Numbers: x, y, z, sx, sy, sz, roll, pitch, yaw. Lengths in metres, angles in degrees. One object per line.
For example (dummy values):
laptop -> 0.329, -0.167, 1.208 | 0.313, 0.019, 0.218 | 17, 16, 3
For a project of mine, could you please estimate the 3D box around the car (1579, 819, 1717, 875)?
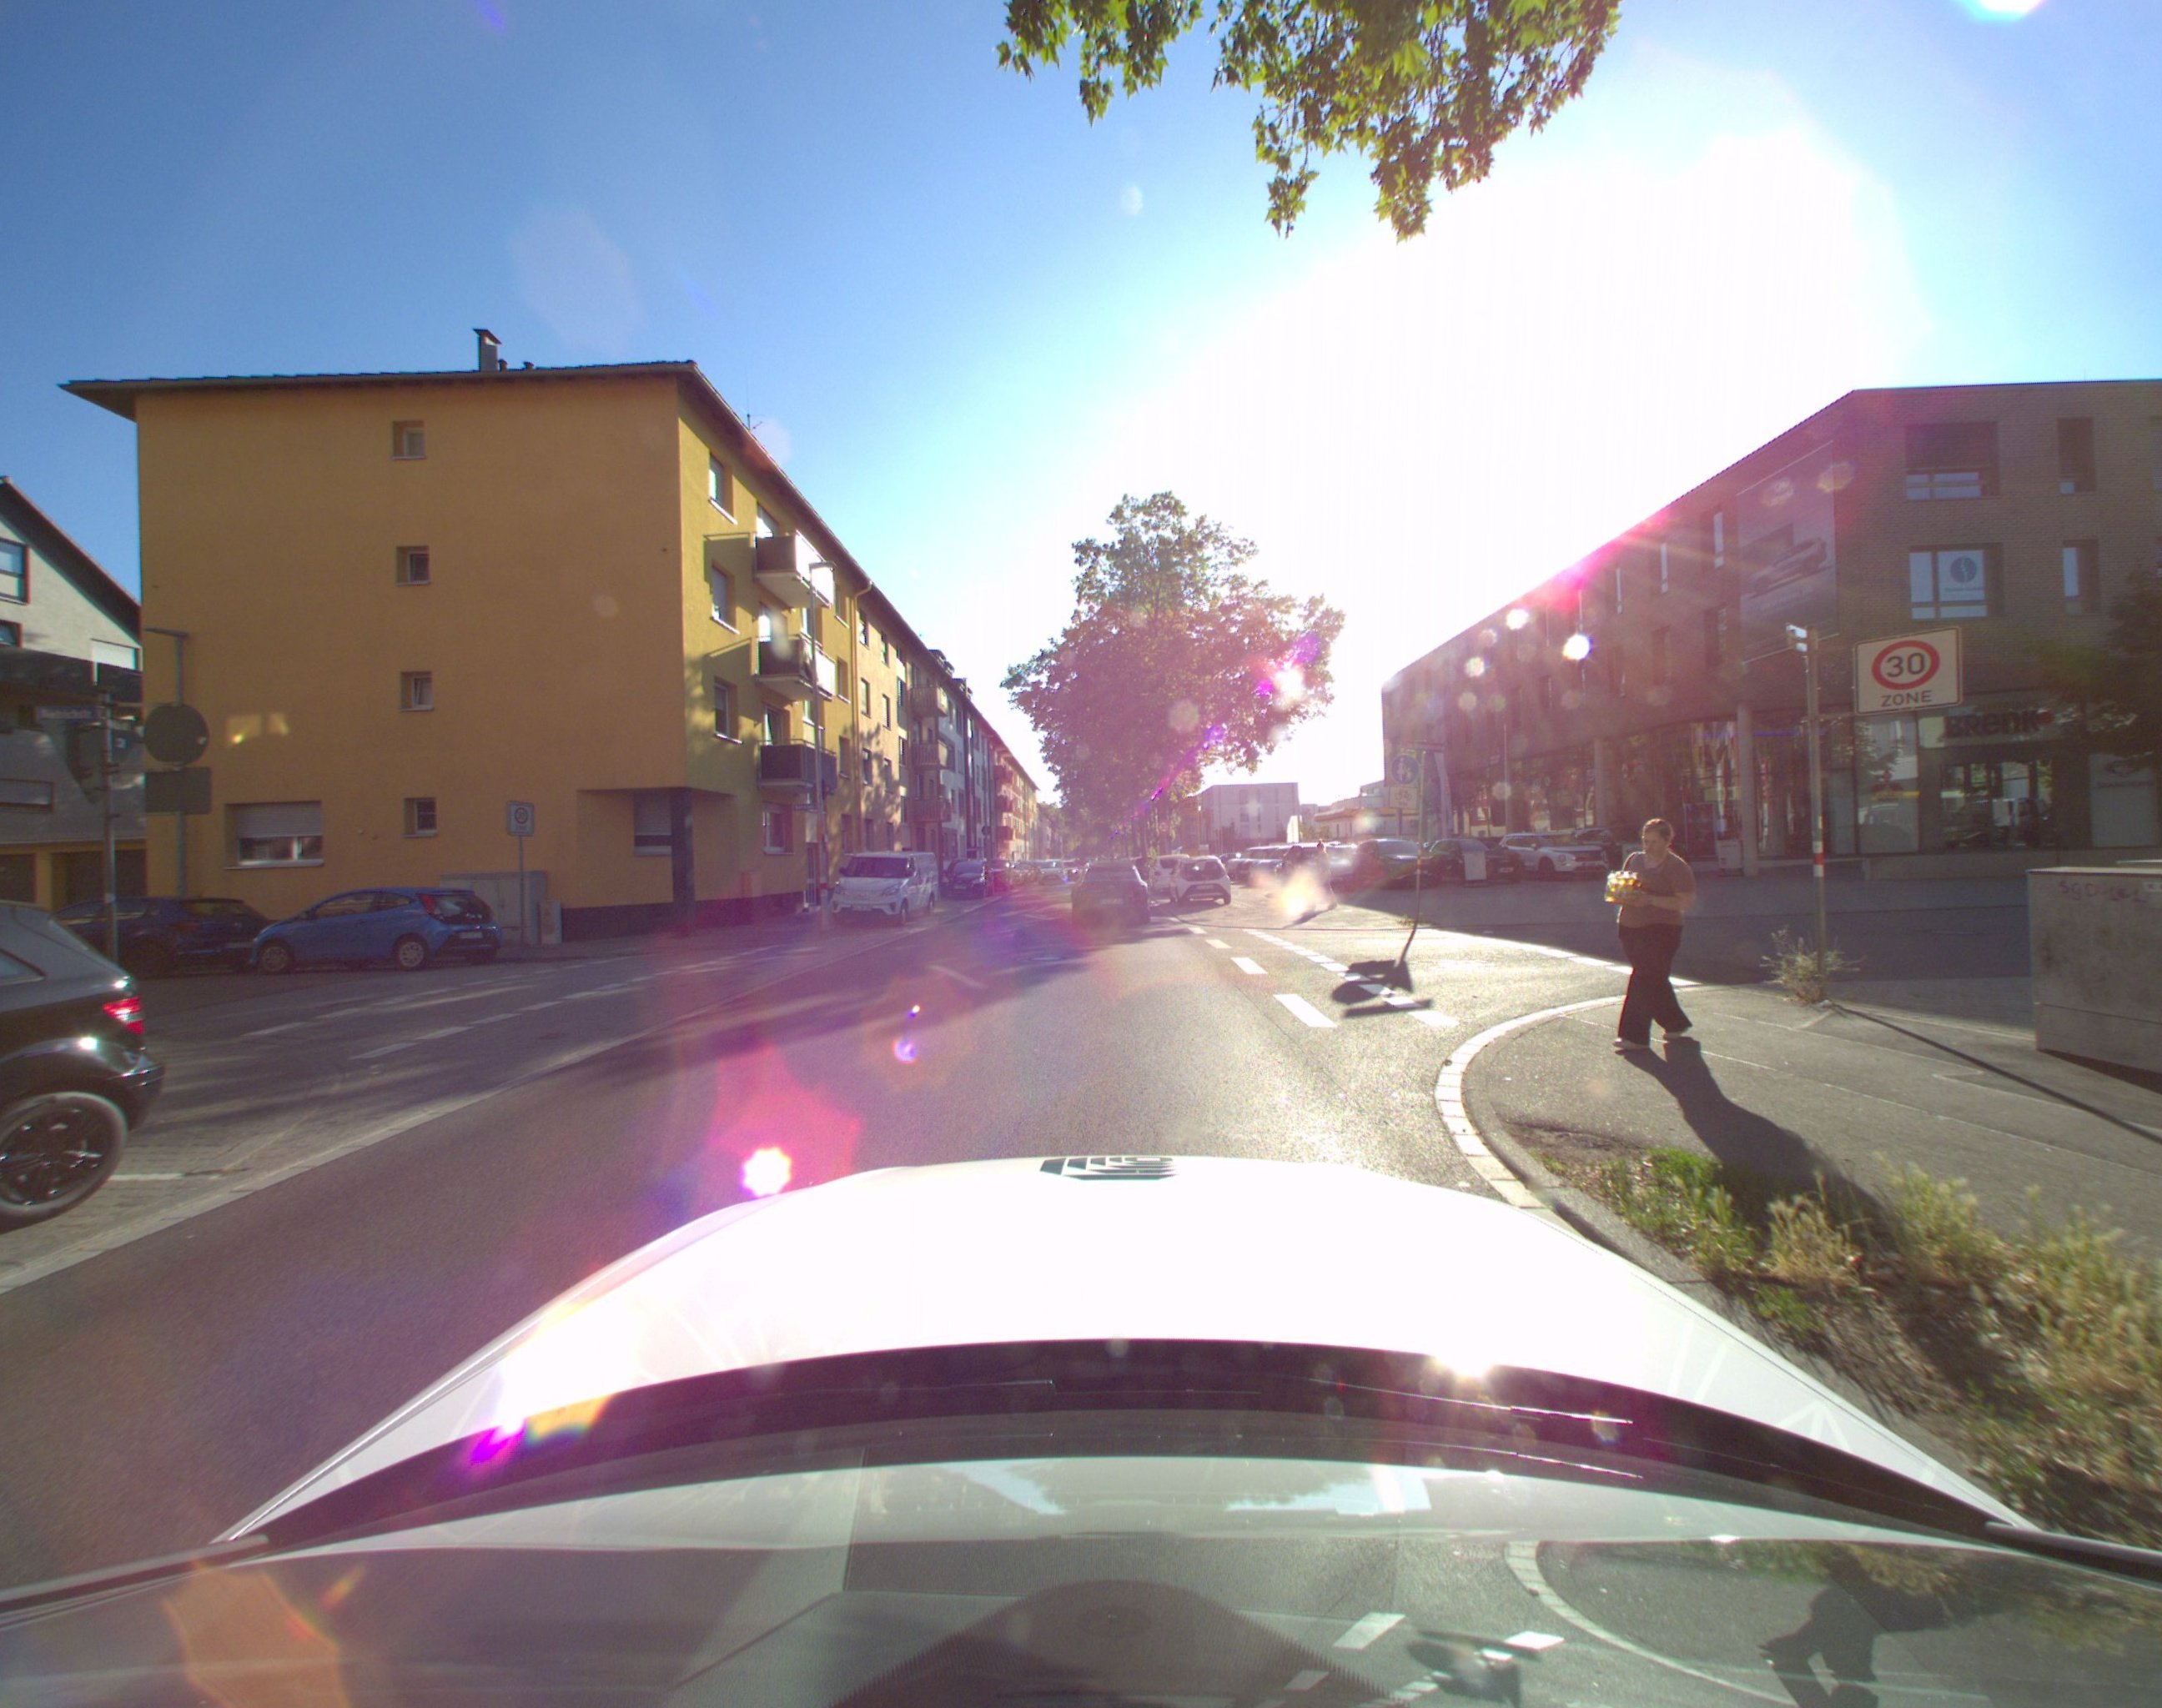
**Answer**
car -> 19.592, -0.207, 28.408 | 1.978, 1.733, 4.183 | -2, 0, 2

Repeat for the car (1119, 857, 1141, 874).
car -> 4.404, 1.047, 73.644 | 1.716, 1.557, 3.601 | 0, -1, 0

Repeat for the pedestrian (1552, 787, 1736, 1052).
pedestrian -> 4.078, 0.443, 5.936 | 0.769, 1.761, 0.660 | -4, -1, -14

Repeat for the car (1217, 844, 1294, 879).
car -> 9.063, 0.369, 42.282 | 3.837, 1.578, 1.727 | -3, 0, -36

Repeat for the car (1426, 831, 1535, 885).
car -> 13.900, 0.145, 28.631 | 1.722, 1.684, 4.179 | -2, 0, -1

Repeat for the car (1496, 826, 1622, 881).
car -> 16.569, -0.014, 28.503 | 1.870, 1.733, 4.179 | -2, 0, -1

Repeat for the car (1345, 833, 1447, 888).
car -> 10.955, 0.217, 28.700 | 1.820, 1.731, 4.366 | -2, 0, -1

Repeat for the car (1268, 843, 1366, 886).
car -> 9.535, 0.398, 32.815 | 3.833, 1.545, 1.646 | -2, 0, -32

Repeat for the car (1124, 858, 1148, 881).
car -> 4.043, 1.142, 60.367 | 1.554, 1.596, 3.601 | 0, -1, 0

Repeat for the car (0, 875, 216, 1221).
car -> -5.740, 0.882, 2.529 | 1.670, 1.523, 4.024 | 0, 0, 3

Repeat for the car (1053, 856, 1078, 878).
car -> -1.144, 0.955, 63.039 | 1.657, 1.523, 4.413 | -3, 0, 1

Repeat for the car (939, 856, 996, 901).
car -> -4.774, 0.986, 34.873 | 1.739, 1.787, 4.549 | 0, 0, 0

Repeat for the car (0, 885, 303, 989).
car -> -16.869, 1.452, 14.697 | 3.974, 1.567, 1.749 | -2, -1, 2

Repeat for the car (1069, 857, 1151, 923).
car -> 0.799, 0.791, 19.719 | 1.735, 1.443, 3.975 | 0, 0, 6

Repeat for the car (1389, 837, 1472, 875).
car -> 15.819, 0.070, 36.807 | 3.835, 1.511, 1.626 | -3, 0, -34

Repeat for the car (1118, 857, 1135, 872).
car -> 4.738, 1.110, 85.703 | 1.628, 1.557, 3.601 | 0, -1, 0

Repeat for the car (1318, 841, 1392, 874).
car -> 14.391, 0.194, 42.654 | 3.835, 1.511, 1.626 | -3, 0, -34

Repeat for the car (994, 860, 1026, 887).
car -> -4.227, 1.148, 49.269 | 1.542, 1.523, 4.005 | 0, 0, 0

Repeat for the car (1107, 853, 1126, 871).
car -> 4.309, 0.977, 98.873 | 1.988, 2.014, 3.996 | -1, -2, -2

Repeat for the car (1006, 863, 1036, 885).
car -> -4.007, 1.329, 55.122 | 1.591, 1.434, 4.218 | 0, 0, 1

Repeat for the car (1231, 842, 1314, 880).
car -> 9.088, 0.329, 38.538 | 3.837, 1.578, 1.722 | -3, 0, -36

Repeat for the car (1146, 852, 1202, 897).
car -> 3.688, 0.814, 32.938 | 1.803, 1.539, 4.585 | -5, -1, 2

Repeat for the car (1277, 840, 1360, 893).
car -> 8.268, 0.409, 28.675 | 1.745, 1.669, 4.159 | -2, 0, 1

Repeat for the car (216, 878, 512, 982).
car -> -12.756, 1.314, 14.648 | 3.769, 1.567, 1.749 | -2, -1, 2

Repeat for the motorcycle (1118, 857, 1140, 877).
motorcycle -> 3.901, 1.062, 66.419 | 1.647, 1.557, 0.607 | 0, -1, -21

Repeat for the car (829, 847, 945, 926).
car -> -5.214, 0.813, 22.599 | 1.727, 1.907, 5.212 | -1, 0, 2

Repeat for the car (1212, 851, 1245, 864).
car -> 19.221, 0.496, 106.398 | 3.975, 1.529, 1.806 | -1, -2, -1

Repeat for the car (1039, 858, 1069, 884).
car -> -1.655, 1.013, 51.330 | 1.633, 1.523, 3.935 | -1, 0, 1

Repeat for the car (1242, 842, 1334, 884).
car -> 9.033, 0.370, 35.443 | 3.835, 1.609, 1.723 | -3, 0, -34

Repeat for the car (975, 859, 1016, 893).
car -> -4.390, 1.079, 42.254 | 1.591, 1.641, 4.412 | 0, 0, 0

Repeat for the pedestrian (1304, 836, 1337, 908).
pedestrian -> 5.931, 0.441, 20.185 | 0.686, 1.723, 0.724 | -3, -1, 15

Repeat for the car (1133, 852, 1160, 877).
car -> 4.343, 0.675, 54.294 | 1.554, 1.596, 3.601 | 0, -1, 0

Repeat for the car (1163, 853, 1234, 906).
car -> 3.672, 0.786, 26.102 | 1.629, 1.468, 4.021 | -4, -1, 0
